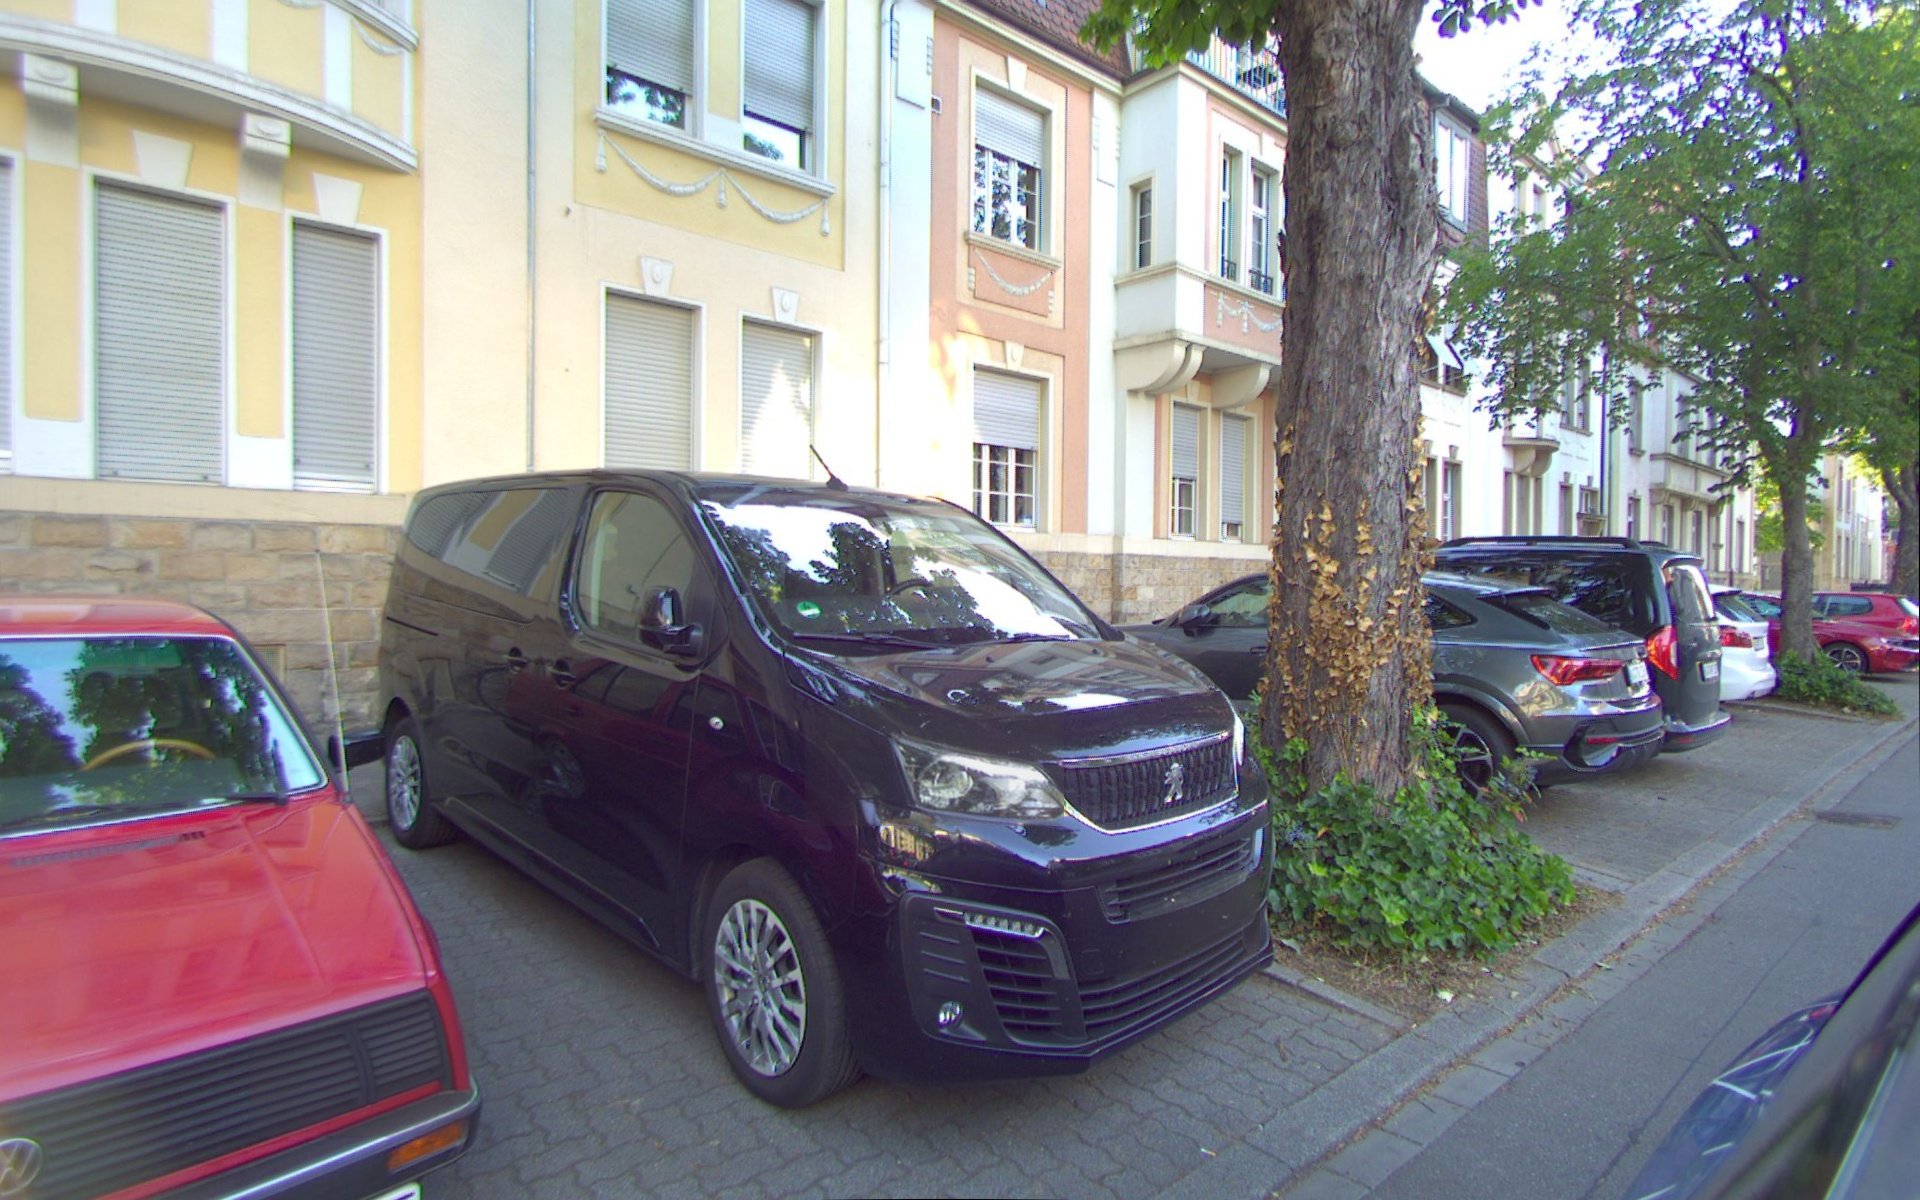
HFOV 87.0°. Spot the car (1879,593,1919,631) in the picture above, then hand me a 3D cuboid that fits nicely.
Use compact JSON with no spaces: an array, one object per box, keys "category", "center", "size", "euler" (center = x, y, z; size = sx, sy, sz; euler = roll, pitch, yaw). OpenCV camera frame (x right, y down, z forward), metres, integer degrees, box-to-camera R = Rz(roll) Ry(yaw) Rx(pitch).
[{"category":"car","center":[31.900,0.436,32.461],"size":[1.515,1.164,3.400],"euler":[0,3,-39]}]

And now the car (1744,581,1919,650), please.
[{"category":"car","center":[21.857,0.339,24.968],"size":[1.548,1.484,3.681],"euler":[0,3,-39]}]

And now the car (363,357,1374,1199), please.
[{"category":"car","center":[-0.936,0.336,4.471],"size":[1.867,1.897,4.753],"euler":[-1,3,-44]}]

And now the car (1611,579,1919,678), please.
[{"category":"car","center":[14.789,0.415,18.457],"size":[1.833,1.470,4.533],"euler":[0,3,-38]}]

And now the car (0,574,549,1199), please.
[{"category":"car","center":[-2.872,0.637,3.031],"size":[1.603,1.332,4.140],"euler":[-1,3,-44]}]

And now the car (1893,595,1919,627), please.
[{"category":"car","center":[34.281,0.438,34.524],"size":[1.515,1.076,3.400],"euler":[0,3,-39]}]

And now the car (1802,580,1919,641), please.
[{"category":"car","center":[25.875,0.279,28.026],"size":[1.548,1.576,3.681],"euler":[0,3,-39]}]

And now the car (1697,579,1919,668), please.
[{"category":"car","center":[16.899,0.389,19.813],"size":[1.628,1.499,3.682],"euler":[0,3,-38]}]

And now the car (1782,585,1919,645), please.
[{"category":"car","center":[23.939,0.365,26.347],"size":[1.548,1.416,3.681],"euler":[0,3,-39]}]

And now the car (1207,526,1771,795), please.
[{"category":"car","center":[4.522,0.326,9.141],"size":[1.813,1.860,4.116],"euler":[0,3,-42]}]

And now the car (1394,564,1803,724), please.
[{"category":"car","center":[7.706,0.399,12.520],"size":[1.689,1.597,3.948],"euler":[0,3,-41]}]

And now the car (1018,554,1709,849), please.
[{"category":"car","center":[2.721,0.459,7.671],"size":[1.815,1.542,4.513],"euler":[-1,3,-44]}]
